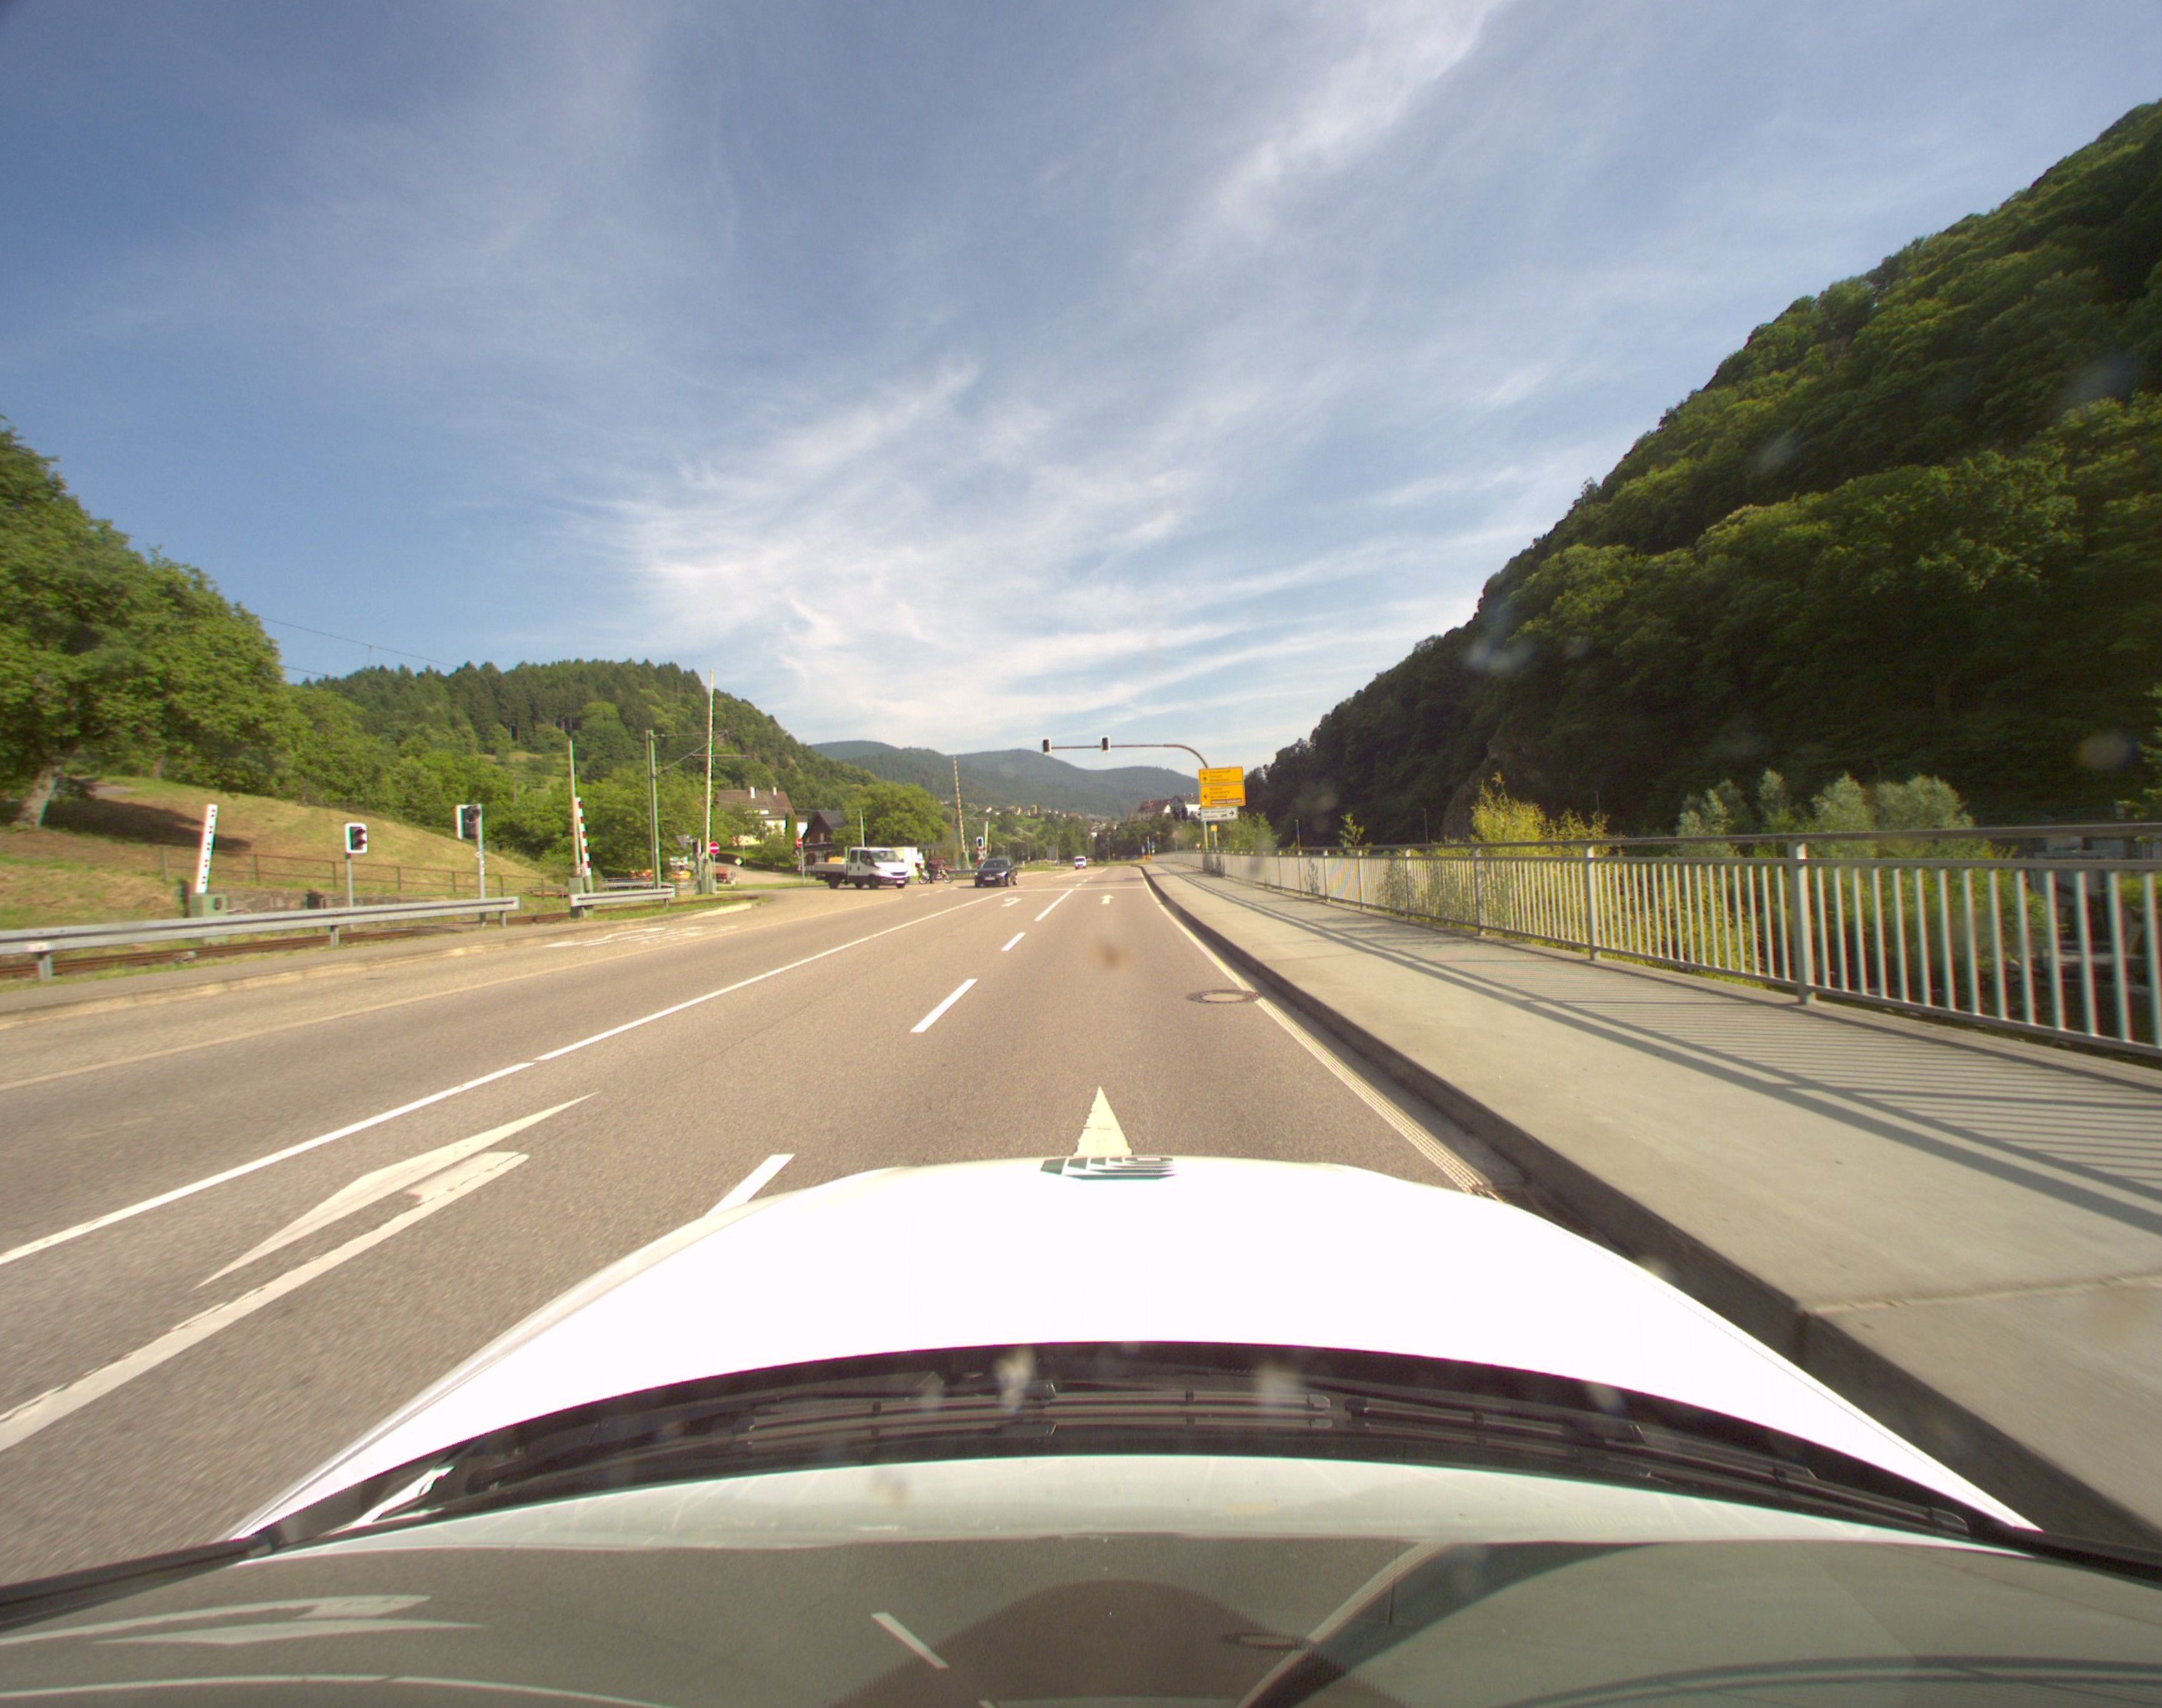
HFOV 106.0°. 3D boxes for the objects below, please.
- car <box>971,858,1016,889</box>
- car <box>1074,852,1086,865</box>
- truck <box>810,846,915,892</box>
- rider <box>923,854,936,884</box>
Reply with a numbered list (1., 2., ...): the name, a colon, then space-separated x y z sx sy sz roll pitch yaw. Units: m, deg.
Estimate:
1. car: -4.417 0.977 41.735 1.766 1.416 3.786 -2 0 2
2. car: -0.136 0.774 141.477 1.986 2.014 4.558 -2 0 2
3. truck: -11.747 0.819 43.625 5.925 2.266 2.013 -2 0 34
4. rider: -9.281 0.909 49.953 0.753 1.819 0.740 -1 0 -13
